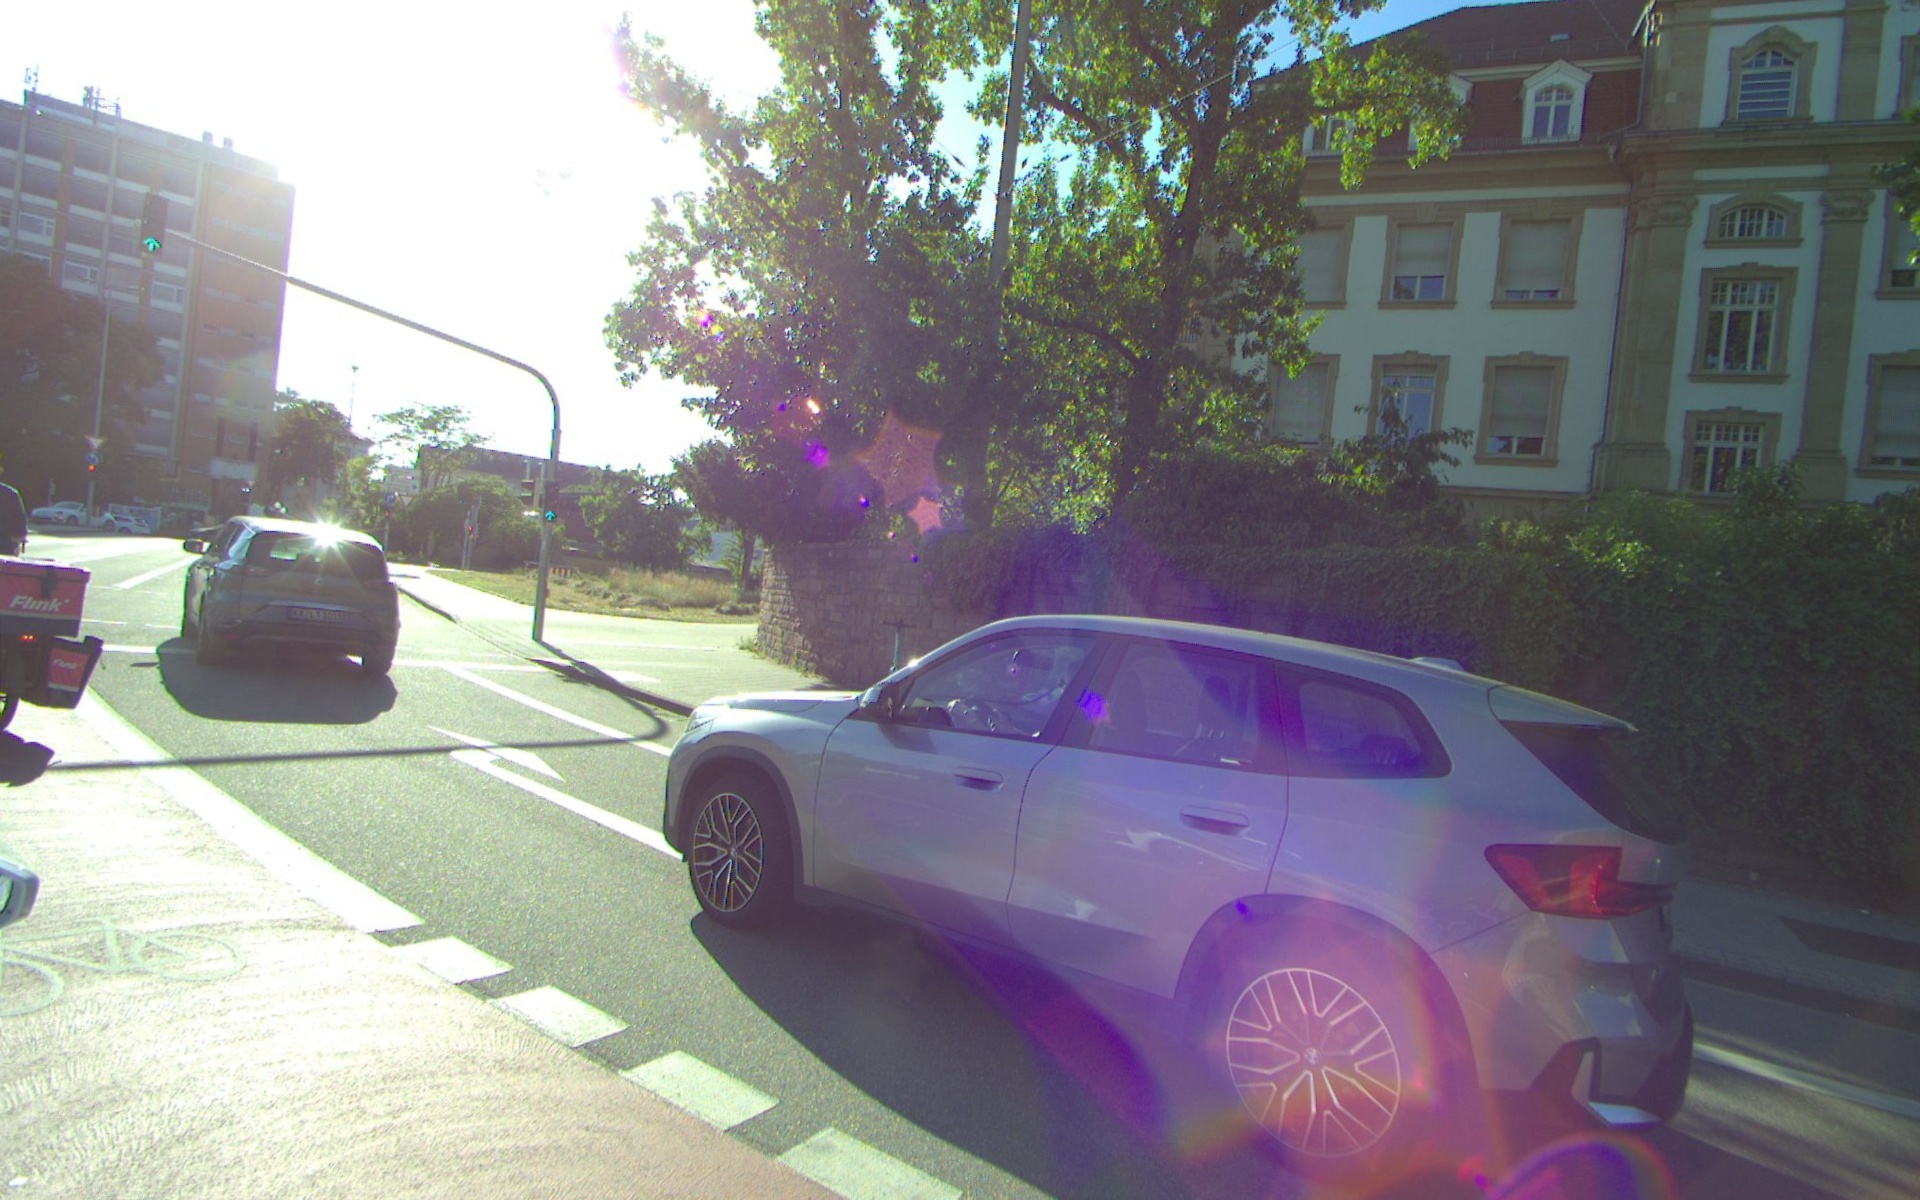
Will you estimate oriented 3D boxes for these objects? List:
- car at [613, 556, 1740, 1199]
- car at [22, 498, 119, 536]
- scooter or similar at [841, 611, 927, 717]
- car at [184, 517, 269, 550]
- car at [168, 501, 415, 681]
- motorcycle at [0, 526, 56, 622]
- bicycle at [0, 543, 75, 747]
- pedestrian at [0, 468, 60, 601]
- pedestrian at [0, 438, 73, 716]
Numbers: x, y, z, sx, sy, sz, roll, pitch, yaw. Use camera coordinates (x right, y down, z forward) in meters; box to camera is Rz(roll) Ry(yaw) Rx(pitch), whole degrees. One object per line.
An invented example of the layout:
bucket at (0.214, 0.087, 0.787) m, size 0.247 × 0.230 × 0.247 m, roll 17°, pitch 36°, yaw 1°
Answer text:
car at (0.603, 0.859, 4.423) m, size 4.263 × 1.612 × 1.788 m, roll 6°, pitch -2°, yaw 37°
car at (-48.504, -4.495, 54.973) m, size 1.772 × 1.549 × 3.997 m, roll 6°, pitch 0°, yaw -3°
scooter or similar at (-1.067, 0.854, 13.820) m, size 0.569 × 1.285 × 1.415 m, roll 6°, pitch 0°, yaw -27°
car at (-46.936, -4.237, 64.493) m, size 1.772 × 1.549 × 3.996 m, roll 6°, pitch 0°, yaw 24°
car at (-8.359, -0.161, 12.396) m, size 1.825 × 1.708 × 4.319 m, roll 9°, pitch -2°, yaw -41°
motorcycle at (-12.404, -0.372, 13.209) m, size 0.611 × 1.110 × 2.334 m, roll 8°, pitch -2°, yaw -40°
bicycle at (-6.703, 0.211, 6.801) m, size 2.337 × 1.185 × 0.554 m, roll 6°, pitch -2°, yaw 38°
pedestrian at (-12.337, -0.855, 13.205) m, size 0.585 × 1.617 × 1.013 m, roll 8°, pitch -1°, yaw -40°
pedestrian at (-7.030, -0.200, 7.115) m, size 0.942 × 1.890 × 0.806 m, roll 6°, pitch -1°, yaw 38°
